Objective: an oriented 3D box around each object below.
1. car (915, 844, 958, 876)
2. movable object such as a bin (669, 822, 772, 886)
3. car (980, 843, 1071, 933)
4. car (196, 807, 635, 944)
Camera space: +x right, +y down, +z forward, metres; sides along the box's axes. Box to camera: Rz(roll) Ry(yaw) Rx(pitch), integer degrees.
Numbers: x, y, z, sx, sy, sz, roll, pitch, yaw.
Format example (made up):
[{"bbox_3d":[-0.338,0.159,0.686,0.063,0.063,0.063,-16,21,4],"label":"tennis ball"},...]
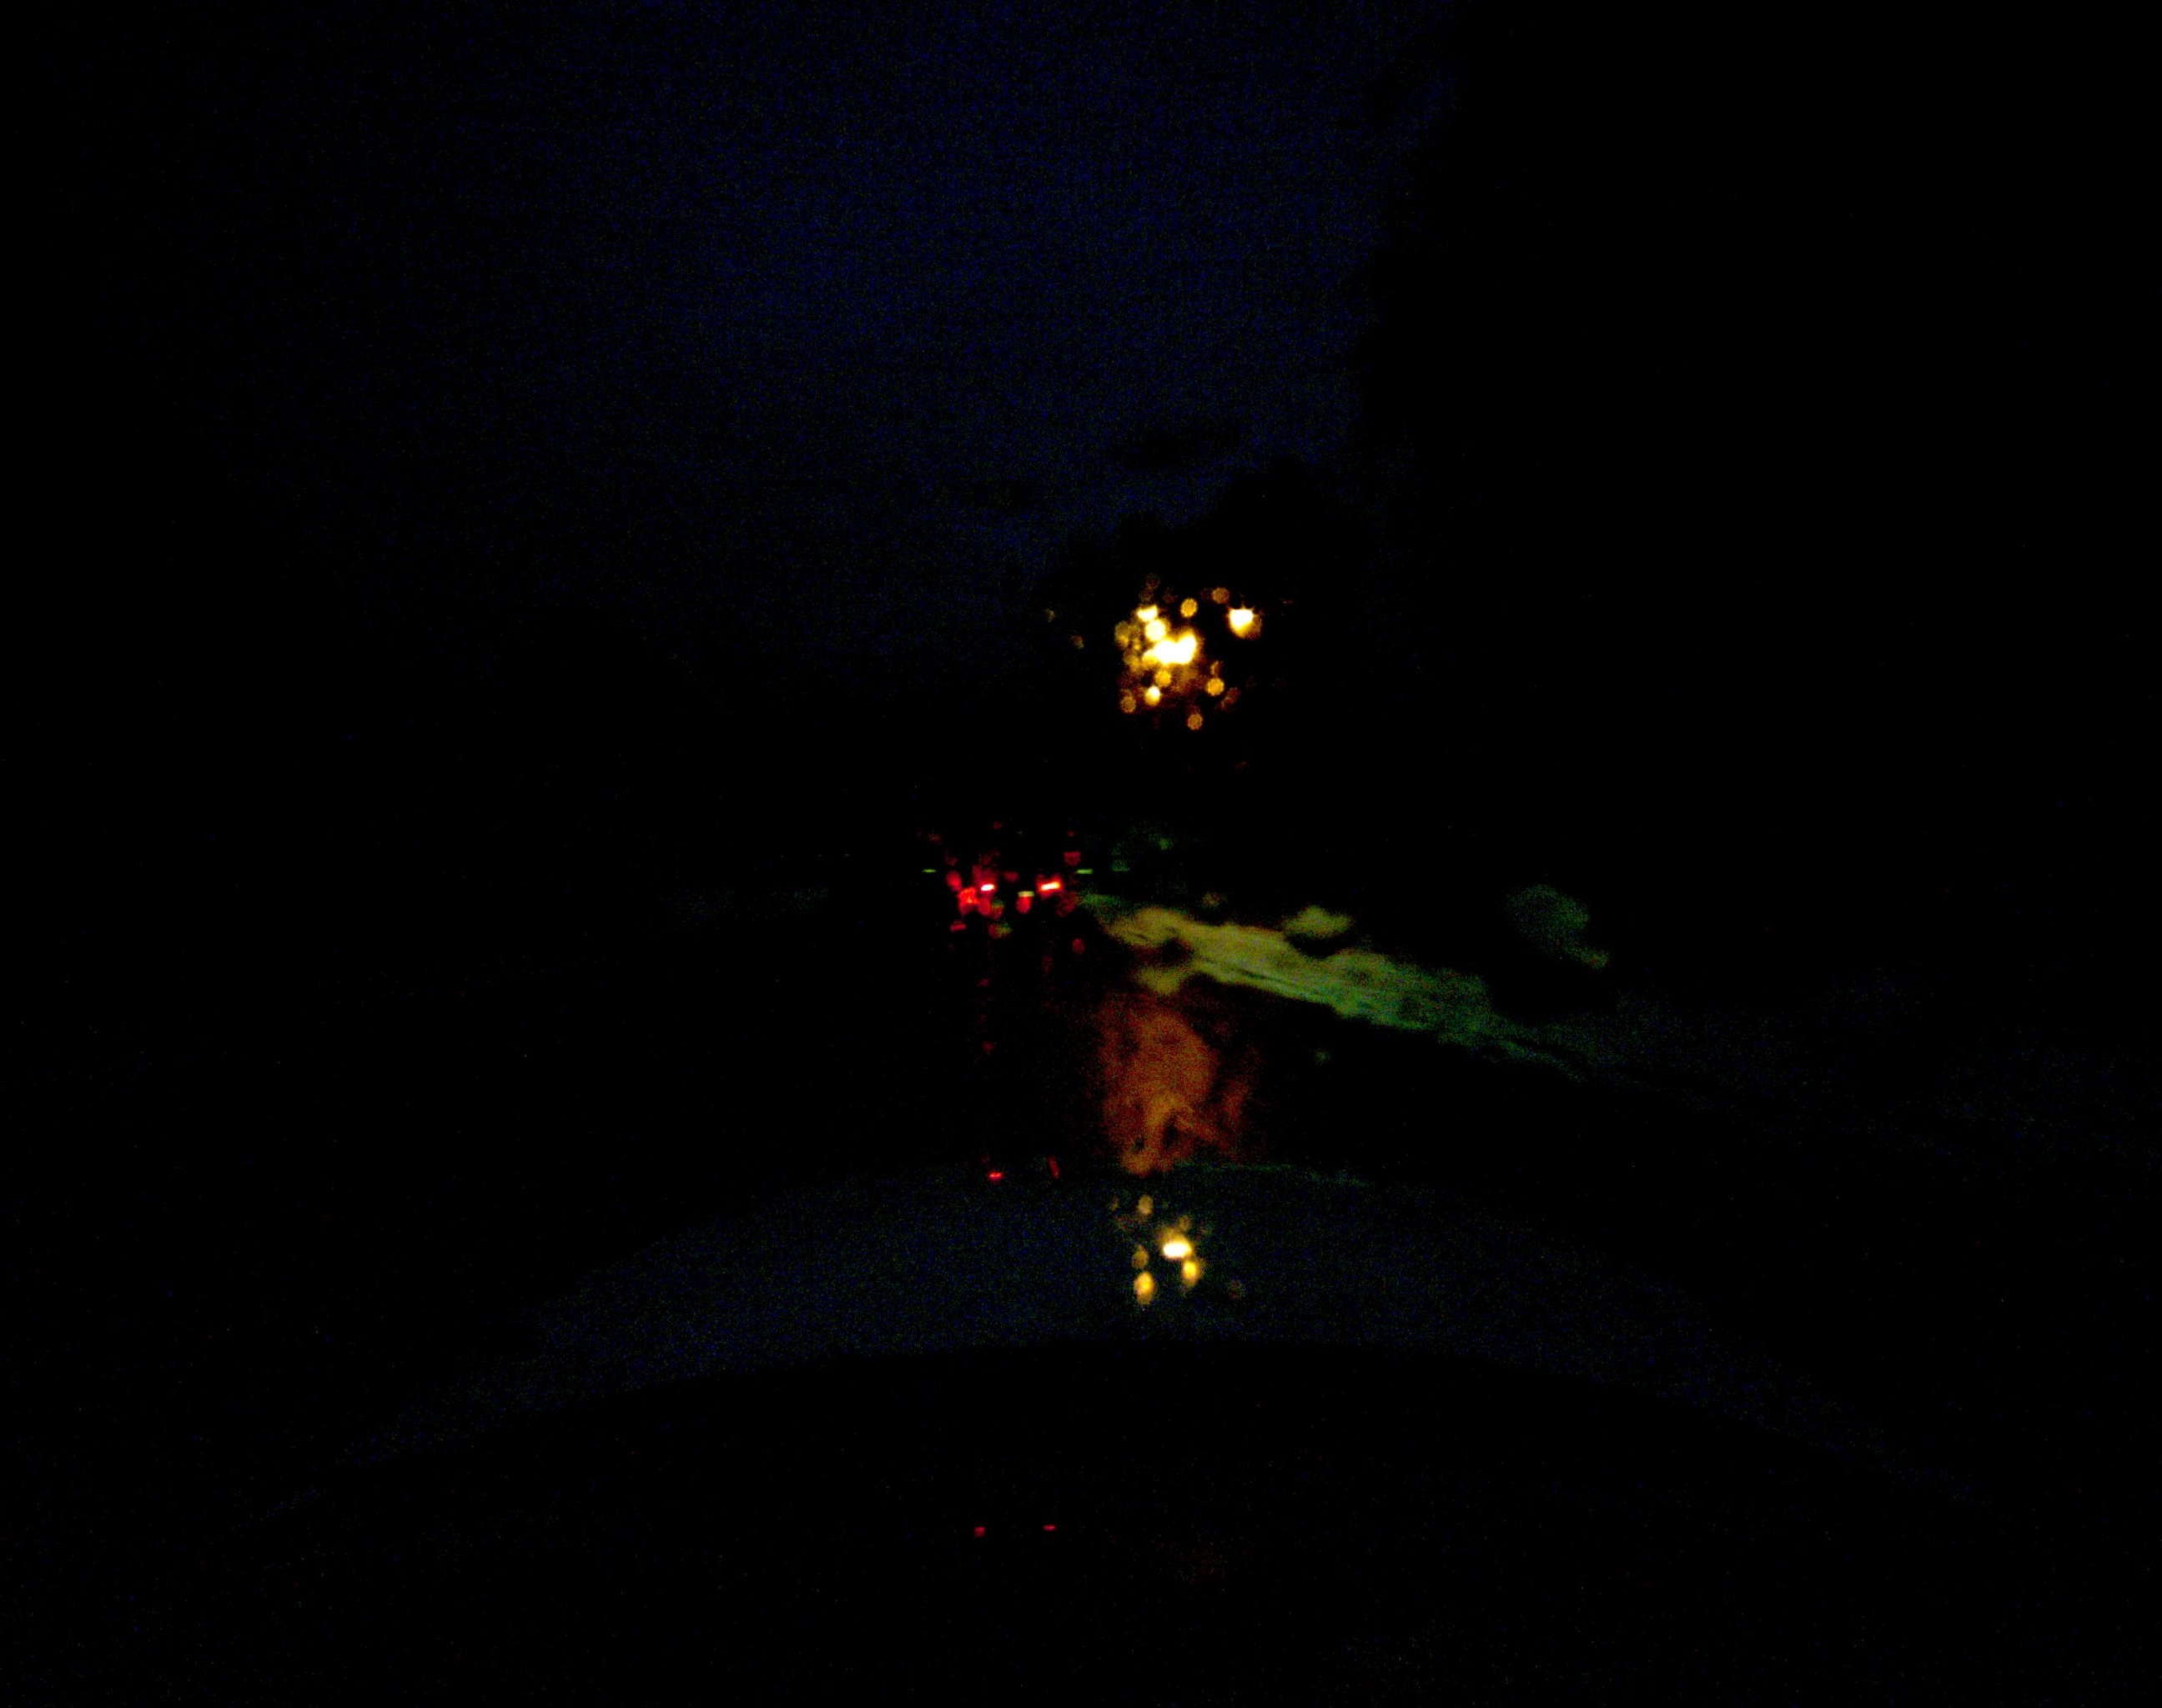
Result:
[{"bbox_3d":[-7.664,0.289,43.525,1.714,1.534,3.515,2,2,-2],"label":"car"},{"bbox_3d":[-10.854,-0.011,24.590,2.345,1.648,1.448,5,1,17],"label":"movable object such as a bin"},{"bbox_3d":[-1.368,0.686,18.773,1.821,1.796,3.569,-2,1,-8],"label":"car"},{"bbox_3d":[-10.846,0.393,13.756,5.255,2.014,2.209,1,-2,-7],"label":"car"}]
